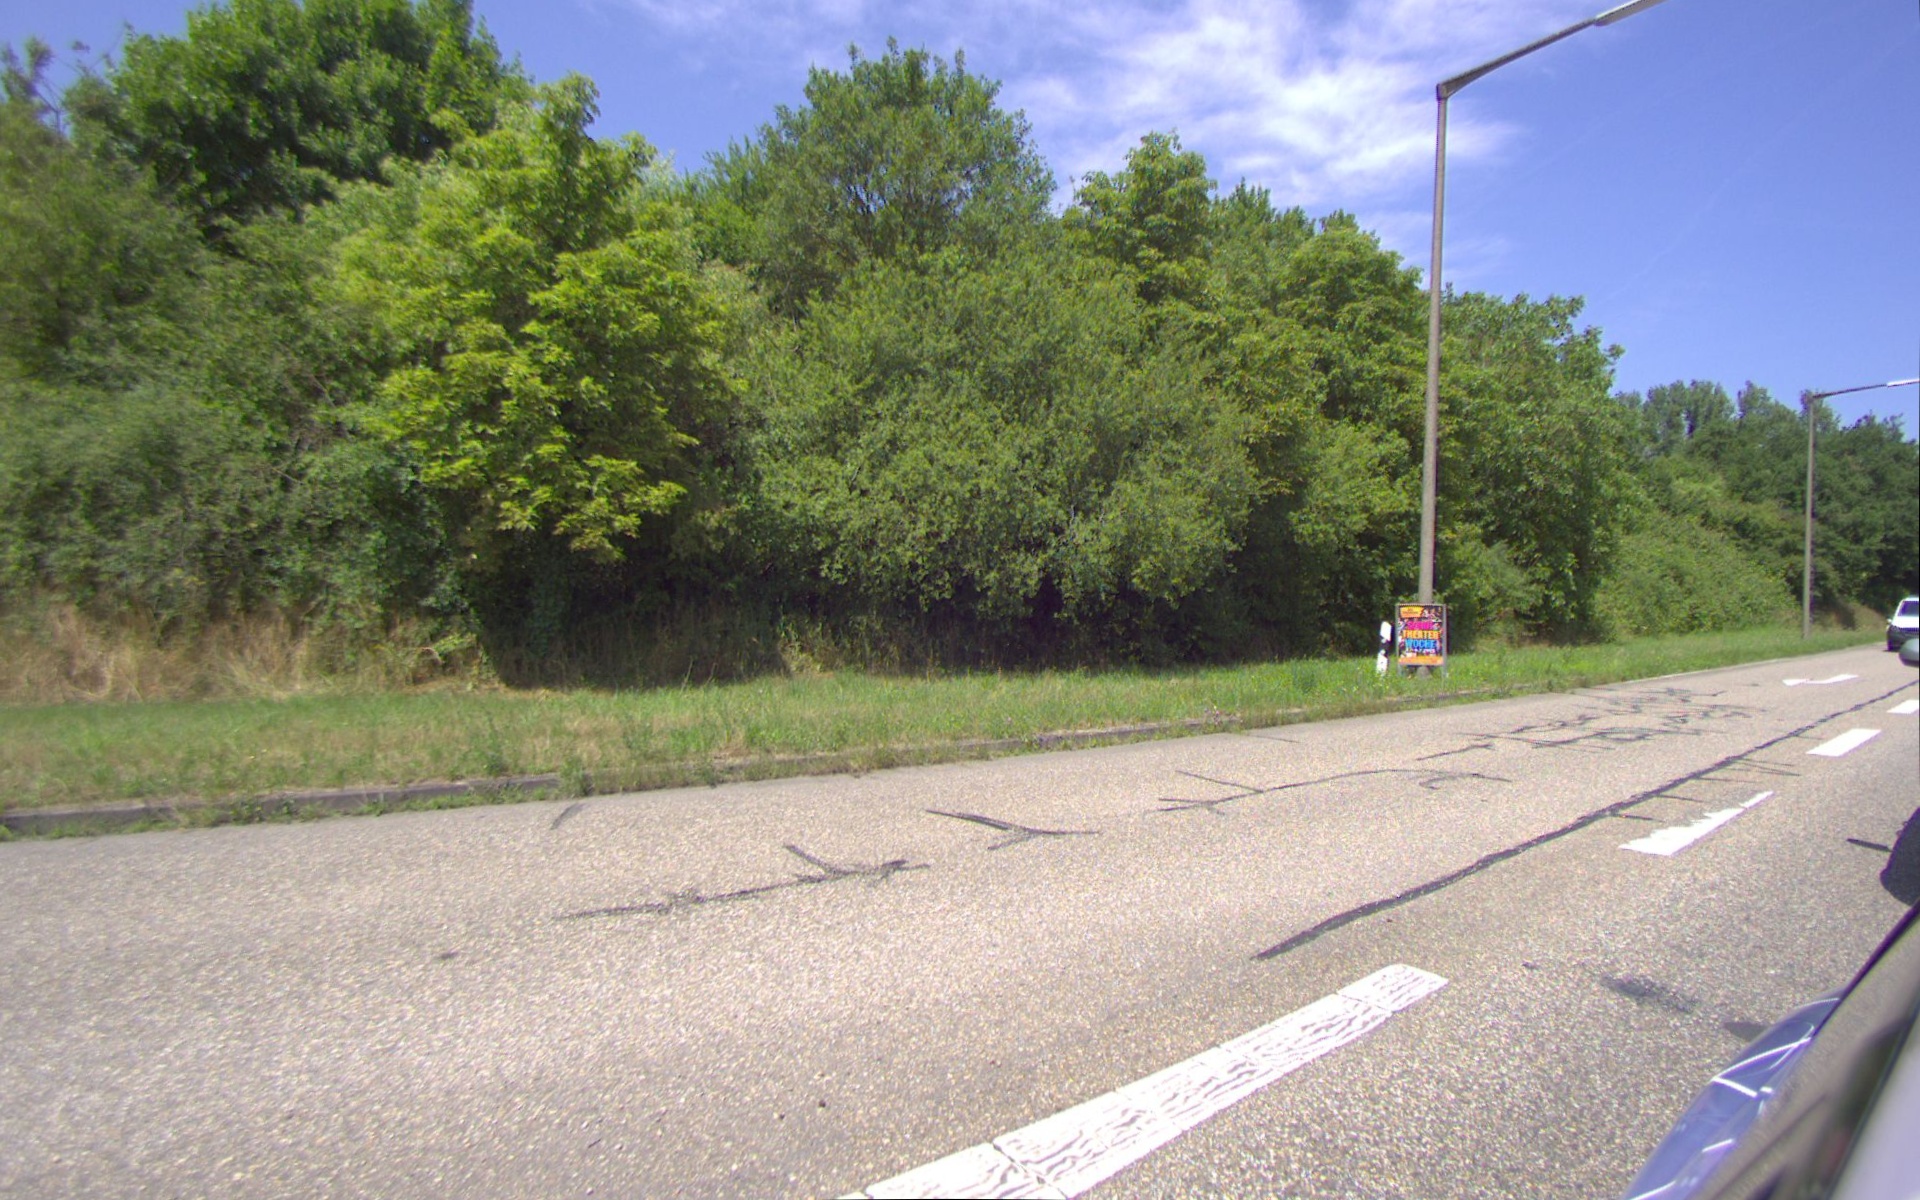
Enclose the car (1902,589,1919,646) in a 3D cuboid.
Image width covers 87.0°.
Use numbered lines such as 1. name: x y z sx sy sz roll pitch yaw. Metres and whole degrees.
1. car: 33.227 0.591 33.965 4.822 1.841 1.863 0 0 -41
